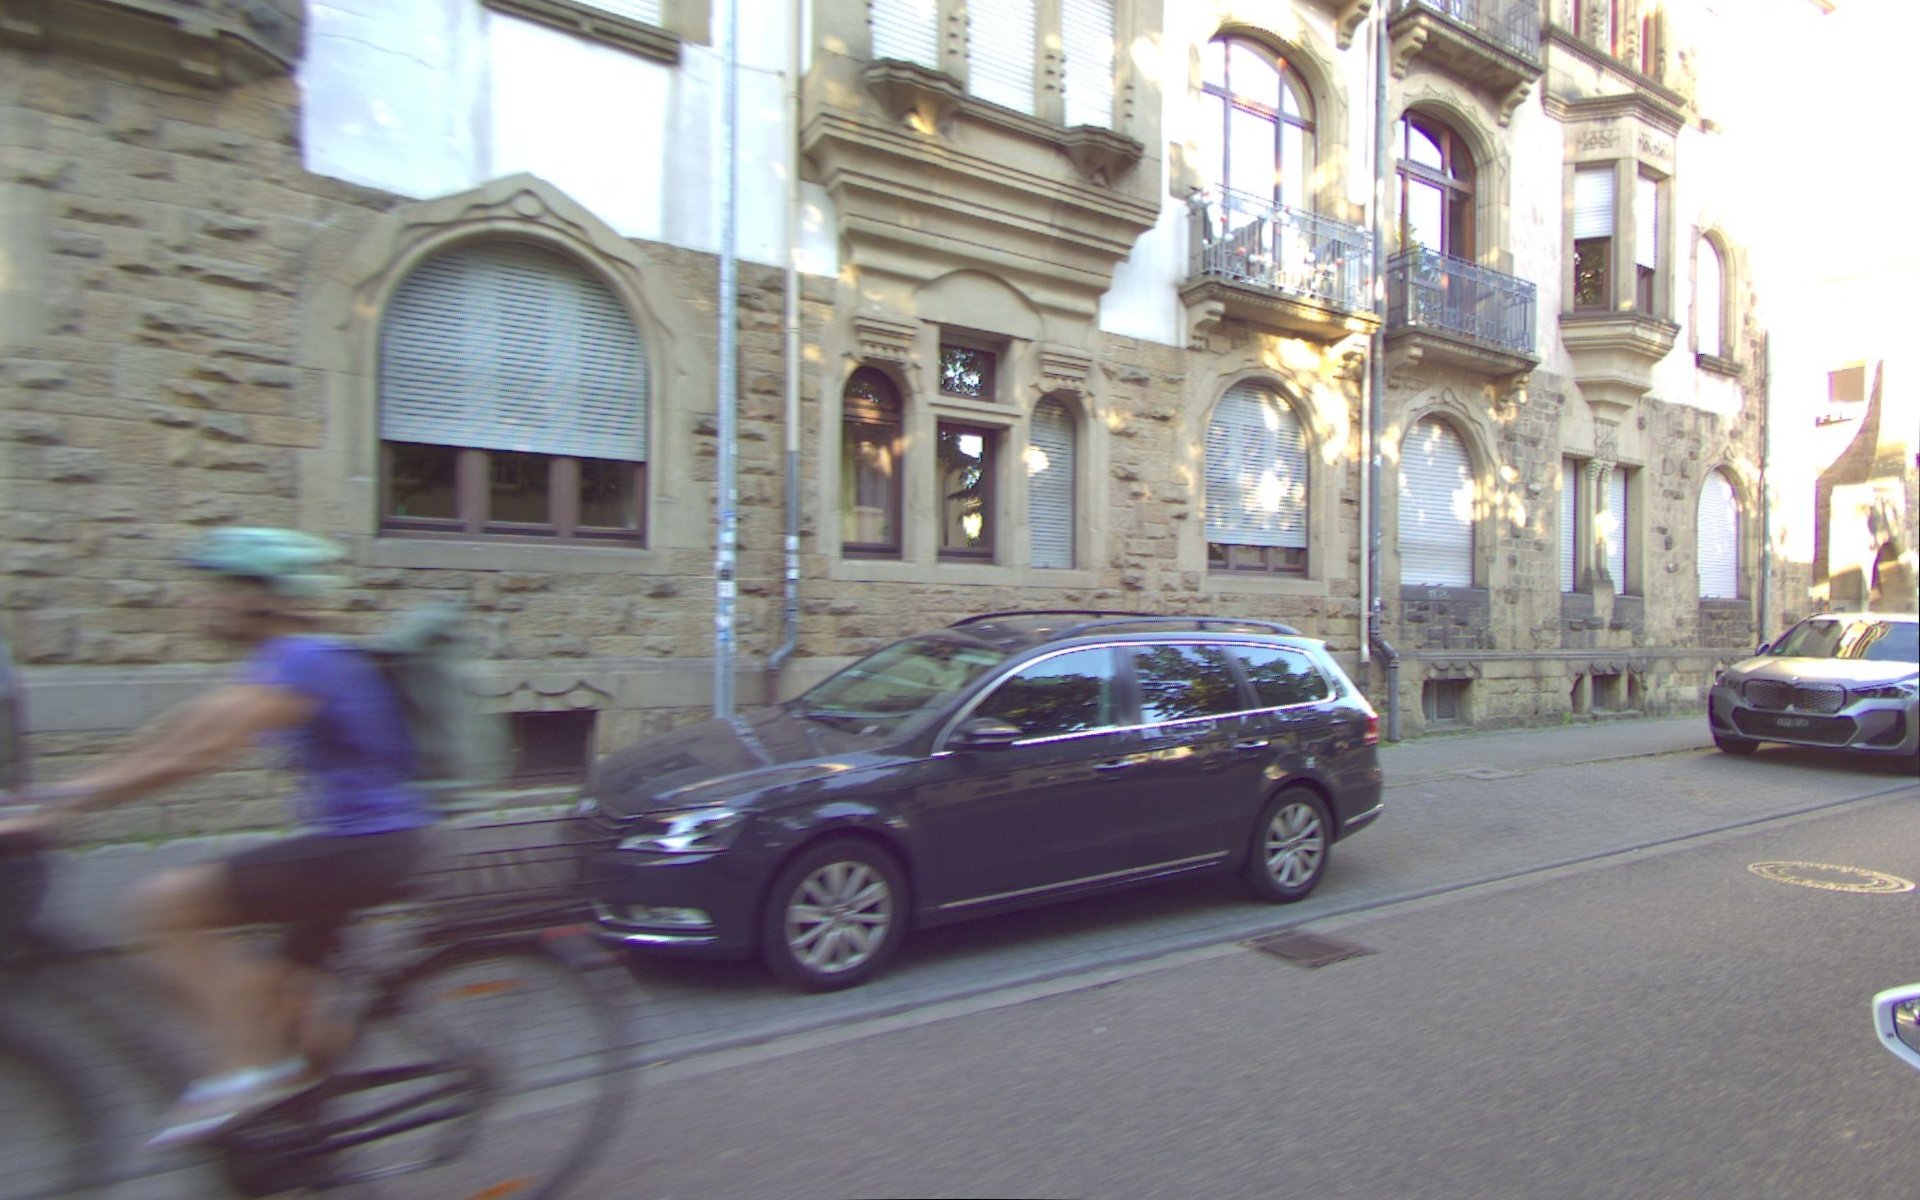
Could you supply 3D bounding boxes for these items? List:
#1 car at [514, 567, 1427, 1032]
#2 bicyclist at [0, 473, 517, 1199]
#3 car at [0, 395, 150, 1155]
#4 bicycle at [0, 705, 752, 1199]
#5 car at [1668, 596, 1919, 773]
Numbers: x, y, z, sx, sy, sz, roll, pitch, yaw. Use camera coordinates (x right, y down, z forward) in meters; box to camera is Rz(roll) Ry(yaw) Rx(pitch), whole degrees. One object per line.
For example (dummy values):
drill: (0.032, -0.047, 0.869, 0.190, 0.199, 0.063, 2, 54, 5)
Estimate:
car: (0.249, 0.776, 5.375, 4.653, 1.595, 1.721, 2, -2, -30)
bicyclist: (-1.560, 0.479, 2.122, 1.049, 1.363, 0.661, 0, -2, -34)
car: (-4.845, 0.422, 2.283, 4.449, 2.001, 1.957, 1, 0, -33)
bicycle: (-1.779, 0.894, 2.004, 2.593, 1.194, 0.748, 1, -2, -35)
car: (10.171, 0.871, 11.402, 4.348, 1.643, 2.038, 2, -2, -33)
